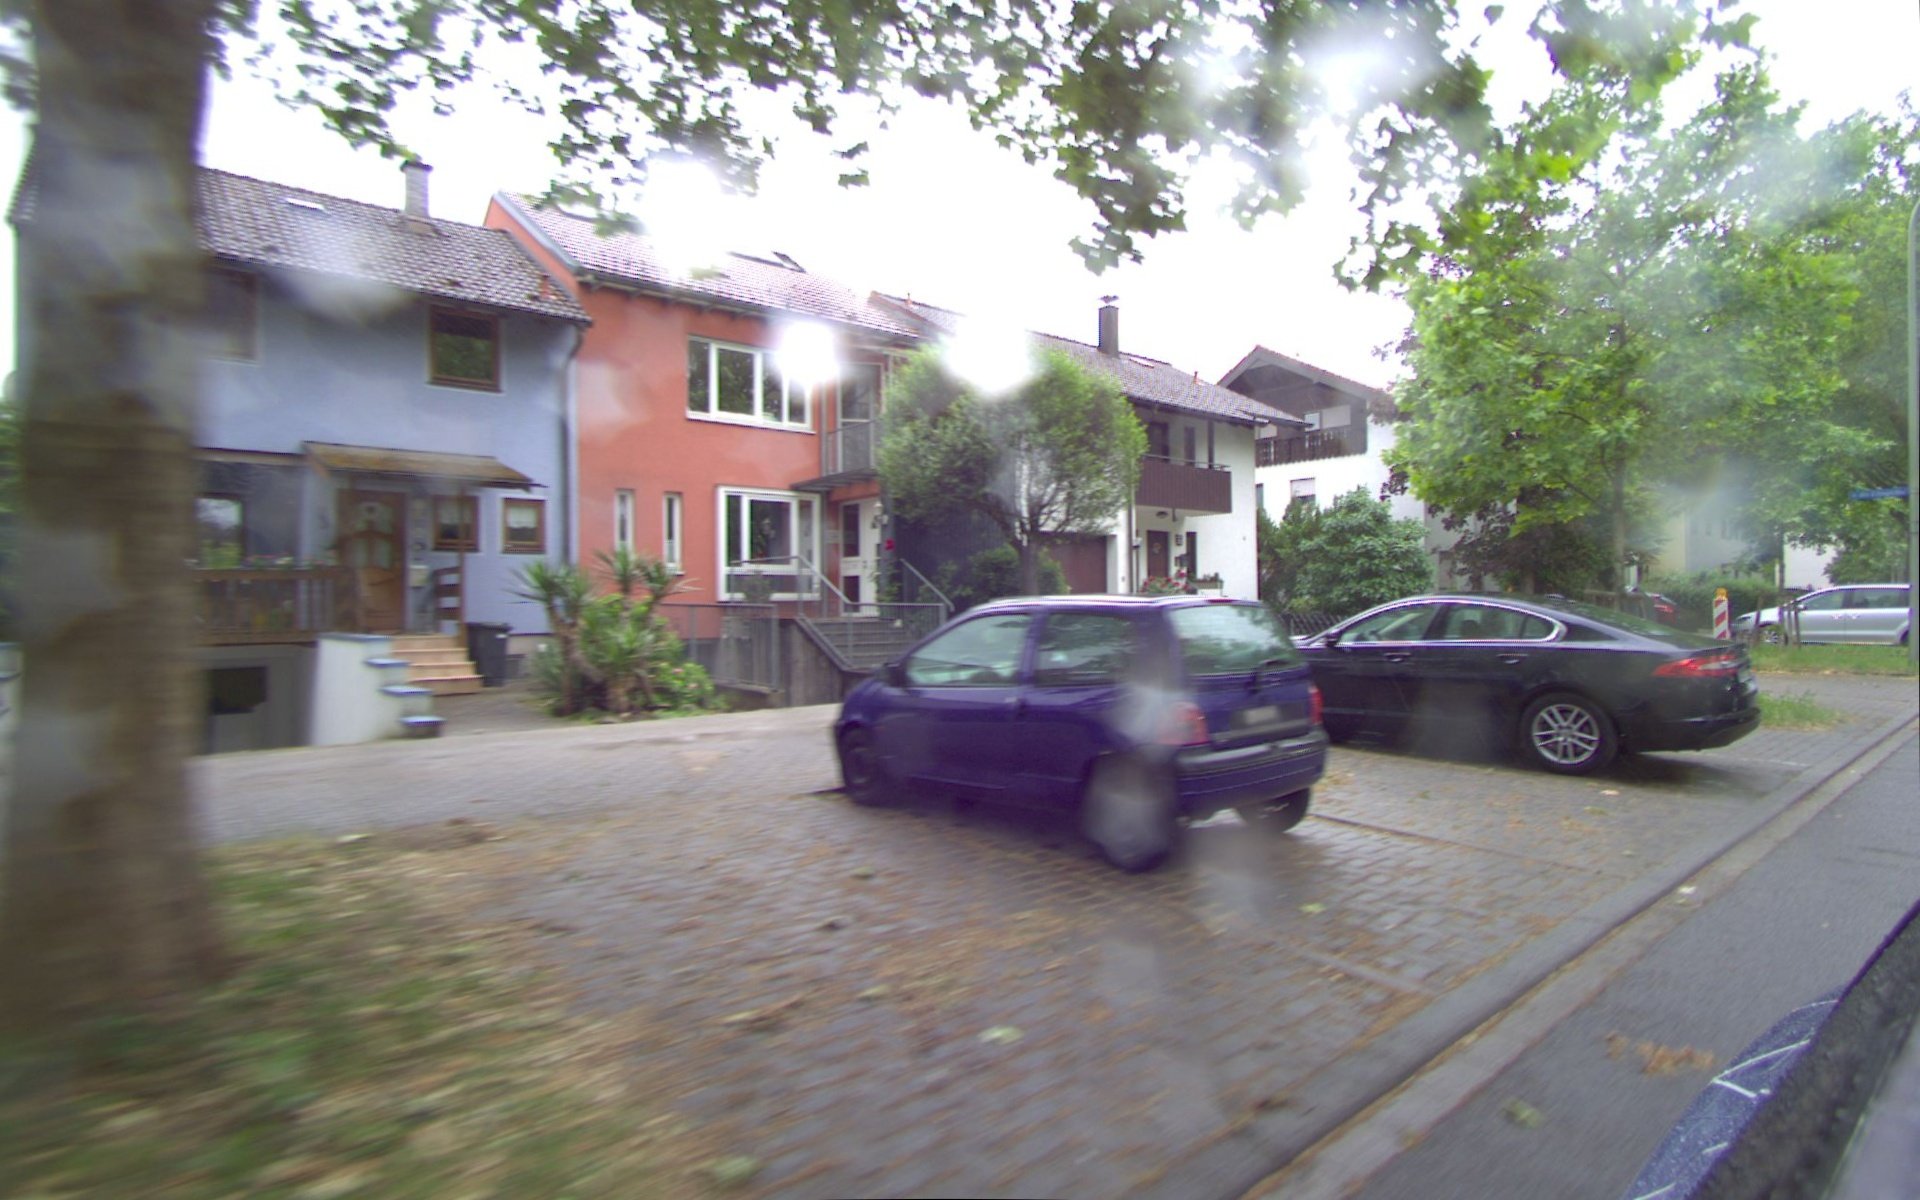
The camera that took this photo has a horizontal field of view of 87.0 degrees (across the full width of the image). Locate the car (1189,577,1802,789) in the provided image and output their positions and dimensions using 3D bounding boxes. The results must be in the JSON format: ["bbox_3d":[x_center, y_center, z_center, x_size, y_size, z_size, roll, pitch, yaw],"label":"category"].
[{"bbox_3d":[4.719,0.551,9.519,1.906,1.491,4.769,0,1,-44],"label":"car"}]

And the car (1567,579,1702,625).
[{"bbox_3d":[25.073,0.046,37.706,1.809,1.633,3.854,0,0,-38],"label":"car"}]

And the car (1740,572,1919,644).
[{"bbox_3d":[22.584,0.170,25.249,1.942,1.682,4.696,0,0,-41],"label":"car"}]

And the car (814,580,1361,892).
[{"bbox_3d":[0.630,0.634,6.614,1.590,1.482,3.361,0,0,-41],"label":"car"}]
